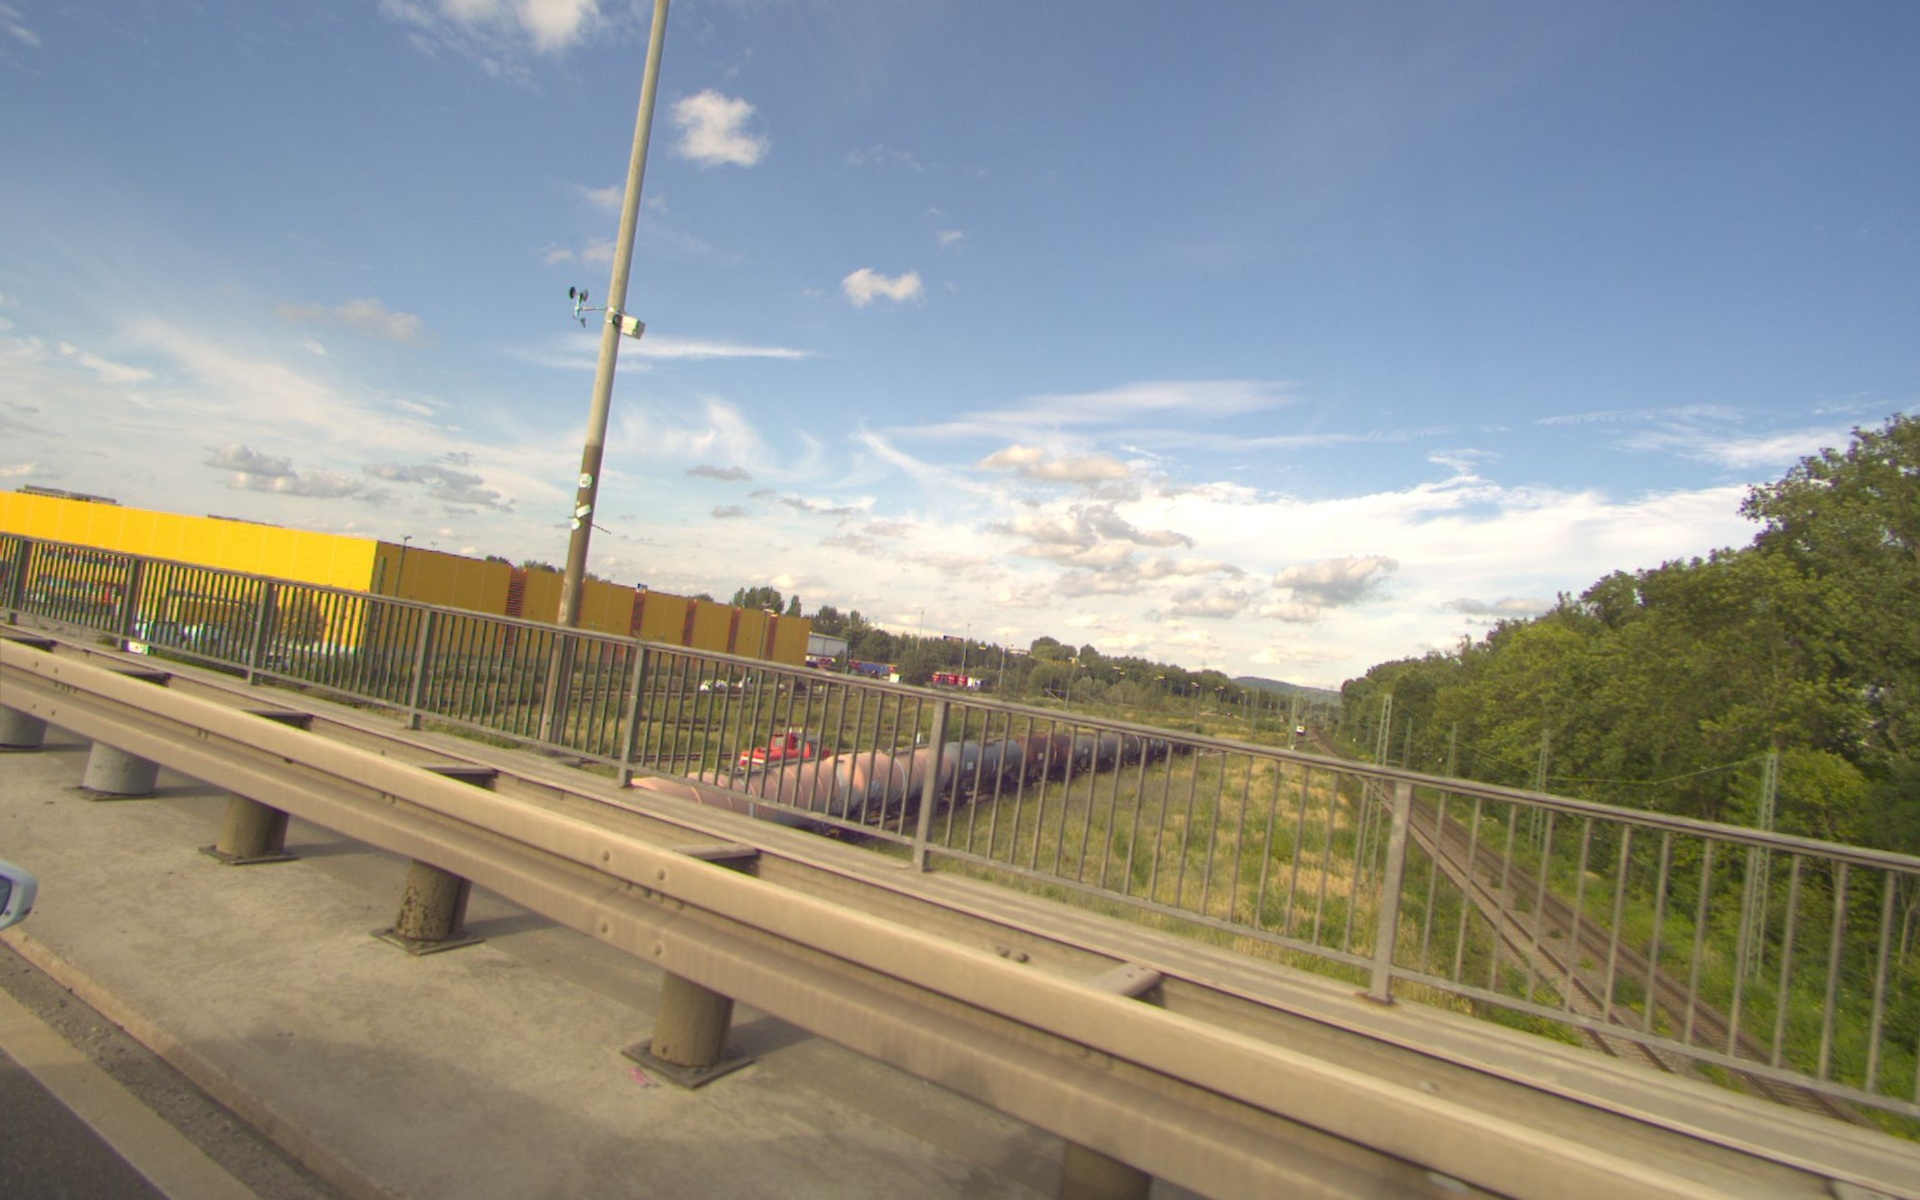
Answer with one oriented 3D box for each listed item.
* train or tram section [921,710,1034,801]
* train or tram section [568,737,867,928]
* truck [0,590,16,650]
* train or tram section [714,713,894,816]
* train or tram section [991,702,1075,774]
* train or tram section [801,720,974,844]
[{"bbox_3d":[1.683,10.927,73.294,3.038,4.768,16.759,7,-1,18],"label":"train or tram section"},{"bbox_3d":[-8.949,8.844,41.673,3.039,4.768,16.757,7,-1,19],"label":"train or tram section"},{"bbox_3d":[-72.013,1.141,69.984,2.617,4.139,8.623,9,-1,20],"label":"truck"},{"bbox_3d":[-8.884,9.677,61.874,3.039,4.194,17.312,7,-1,18],"label":"train or tram section"},{"bbox_3d":[6.764,11.943,89.227,3.038,4.768,16.759,7,-1,18],"label":"train or tram section"},{"bbox_3d":[-3.521,9.900,57.484,3.039,4.768,16.757,7,-1,19],"label":"train or tram section"}]
